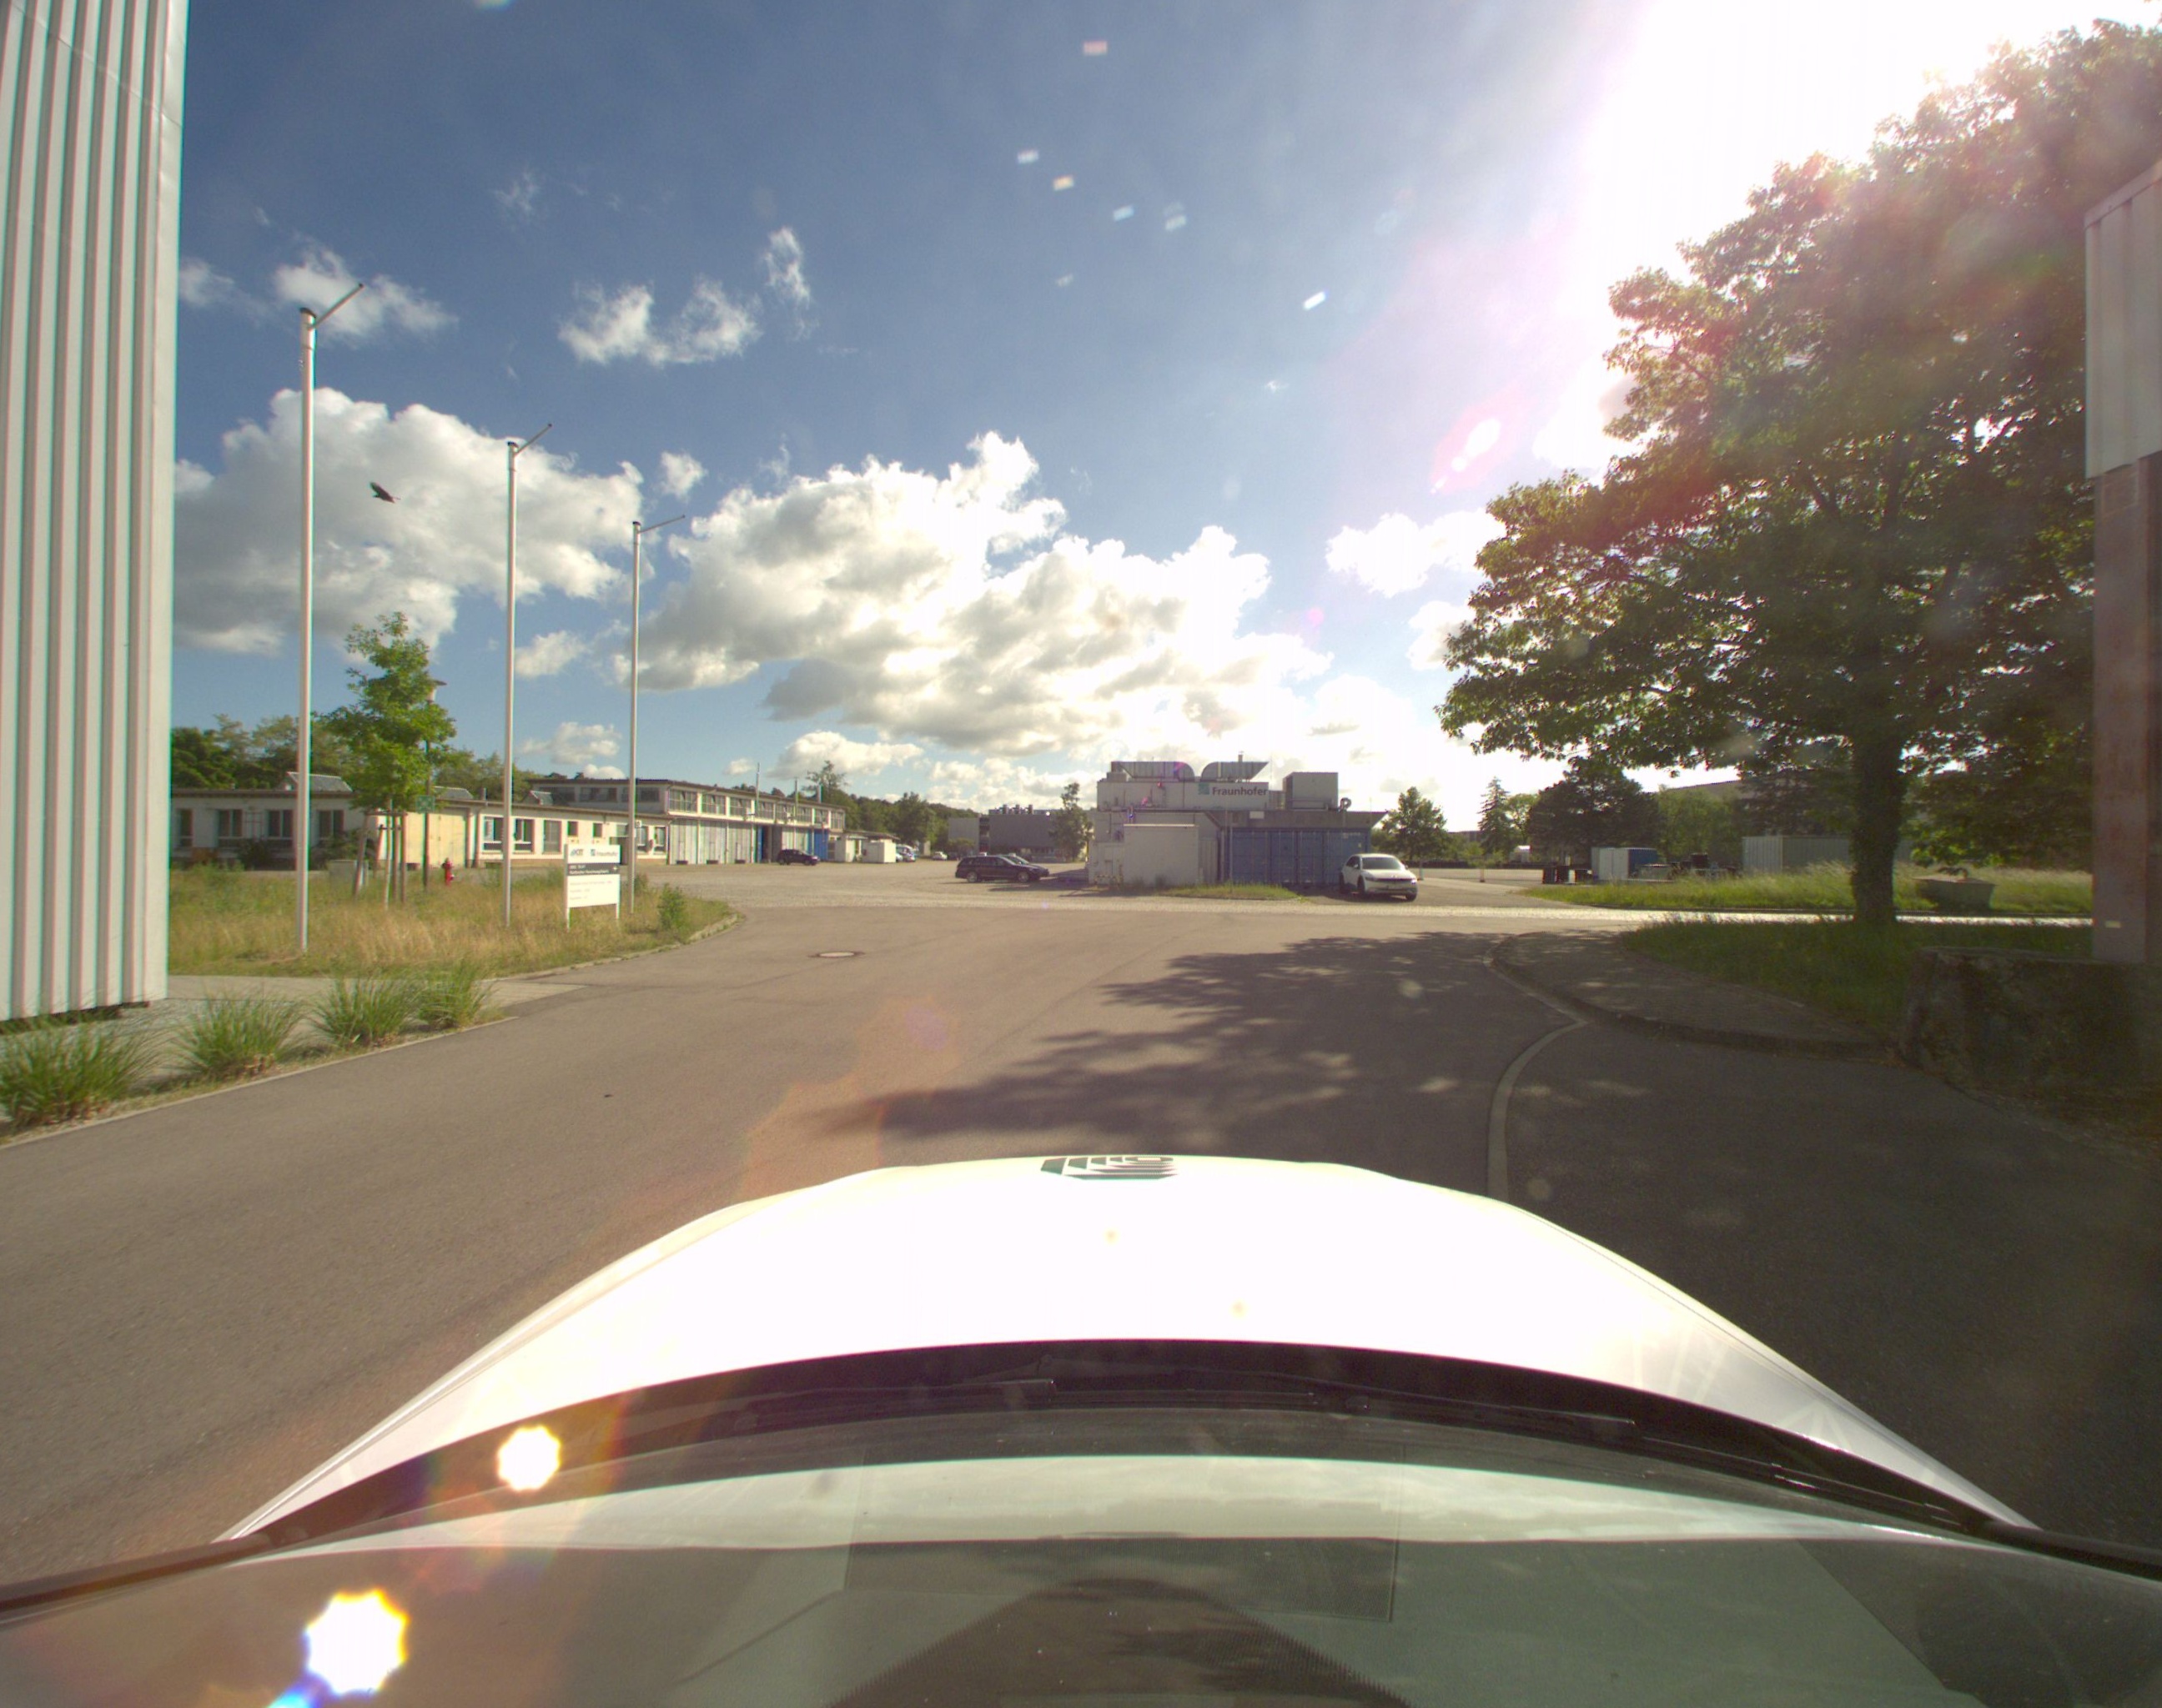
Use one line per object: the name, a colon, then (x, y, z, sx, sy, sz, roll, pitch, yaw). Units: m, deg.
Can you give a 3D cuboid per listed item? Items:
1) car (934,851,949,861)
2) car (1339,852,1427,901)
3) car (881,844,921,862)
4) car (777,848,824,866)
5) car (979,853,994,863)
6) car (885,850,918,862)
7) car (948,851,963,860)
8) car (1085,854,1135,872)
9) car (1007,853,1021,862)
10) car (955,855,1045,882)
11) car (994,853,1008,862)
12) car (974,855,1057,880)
car: (-24.437, 0.339, 142.937, 1.840, 1.668, 4.133, -1, -1, 0)
car: (11.055, 0.758, 30.138, 1.971, 1.593, 4.347, 1, 1, 5)
car: (-26.346, -0.138, 119.468, 5.227, 2.442, 2.055, 1, 0, 9)
car: (-28.598, 0.284, 83.095, 4.144, 1.666, 1.785, 2, -1, 3)
car: (-16.456, 0.676, 142.419, 1.869, 1.689, 4.038, -1, -1, 3)
car: (-25.650, 0.306, 116.453, 4.085, 1.630, 1.812, 1, 0, 9)
car: (-22.013, 0.342, 142.623, 1.871, 1.537, 4.035, -1, -1, 0)
car: (2.540, 0.819, 71.356, 4.258, 1.569, 1.990, 0, -2, 5)
car: (-11.592, 0.628, 142.098, 1.869, 1.537, 4.038, -1, -1, 3)
car: (-4.327, 0.787, 44.034, 4.508, 1.443, 1.990, 0, -2, 5)
car: (-13.922, 0.686, 142.063, 1.869, 1.537, 4.038, -1, -1, 3)
car: (-3.787, 0.794, 47.264, 4.508, 1.443, 1.906, 0, -2, 5)
